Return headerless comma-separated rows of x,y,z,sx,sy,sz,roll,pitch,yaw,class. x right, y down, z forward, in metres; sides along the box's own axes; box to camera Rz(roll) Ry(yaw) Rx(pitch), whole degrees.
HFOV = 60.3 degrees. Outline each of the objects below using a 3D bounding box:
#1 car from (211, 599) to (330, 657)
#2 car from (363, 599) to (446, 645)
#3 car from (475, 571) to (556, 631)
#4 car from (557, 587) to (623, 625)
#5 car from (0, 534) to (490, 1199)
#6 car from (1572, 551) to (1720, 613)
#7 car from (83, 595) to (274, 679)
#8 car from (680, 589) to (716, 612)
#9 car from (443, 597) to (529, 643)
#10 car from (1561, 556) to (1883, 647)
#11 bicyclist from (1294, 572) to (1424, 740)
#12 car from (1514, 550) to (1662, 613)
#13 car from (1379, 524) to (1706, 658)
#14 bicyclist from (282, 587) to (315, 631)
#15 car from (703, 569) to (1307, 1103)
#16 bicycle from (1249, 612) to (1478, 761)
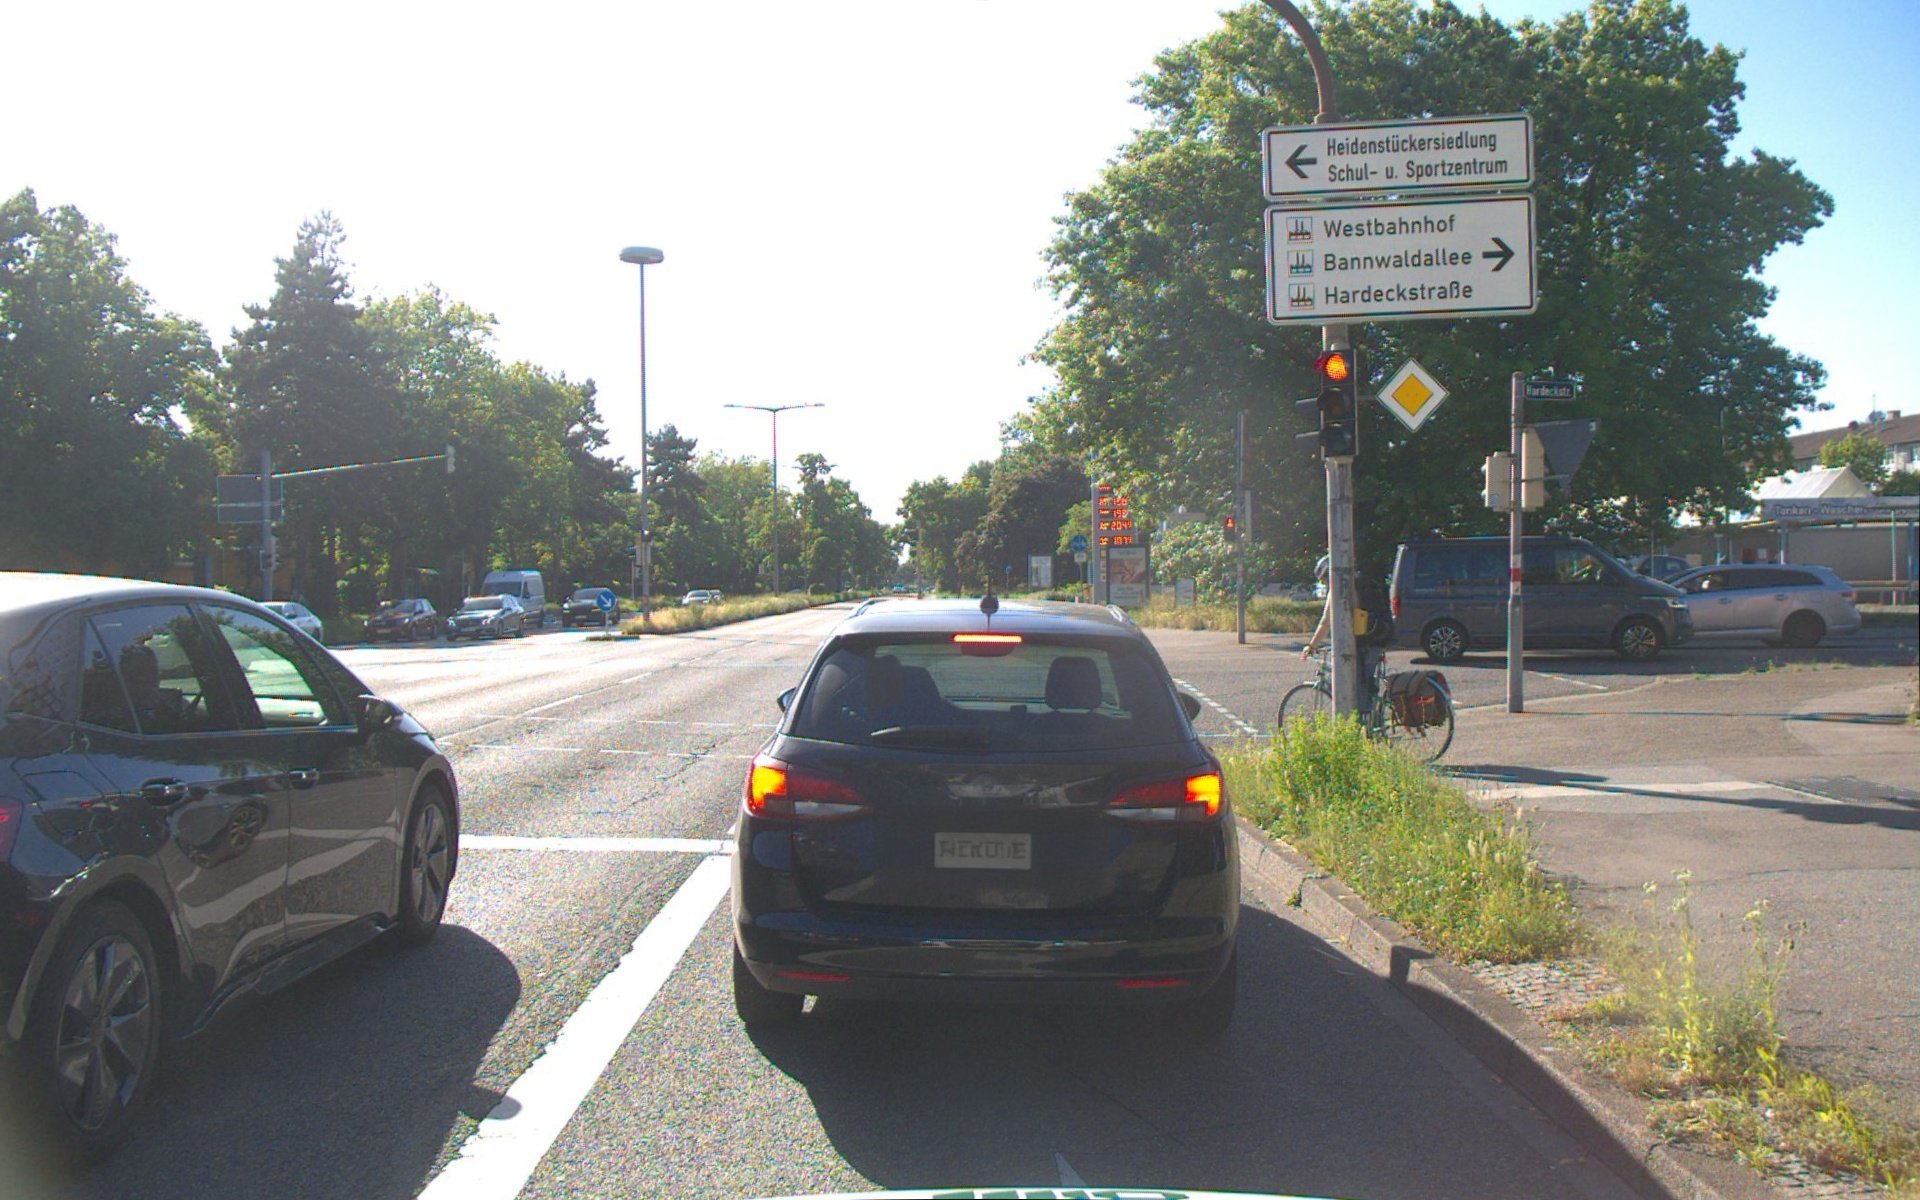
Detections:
-19.338,0.745,46.572,1.607,1.481,4.221,-1,0,-1,car
-19.984,0.769,59.657,1.652,1.535,4.003,-1,0,-1,car
-19.849,0.022,74.134,2.057,2.536,6.003,-1,0,-1,car
-16.698,0.249,74.824,1.953,1.629,4.615,-1,0,-1,car
-2.996,0.656,5.607,1.650,1.608,4.206,0,0,-1,car
19.992,-0.536,48.198,3.934,1.709,1.732,-2,0,-24,car
-16.146,0.714,34.441,1.850,1.551,4.503,-1,0,-1,car
-17.590,0.035,111.121,1.740,1.488,4.164,-1,0,-1,car
-16.290,0.666,57.061,1.652,1.458,4.614,-1,0,-1,car
13.542,0.028,29.705,4.897,1.512,2.002,-1,0,11,car
3.221,0.451,13.374,0.534,1.299,0.816,-2,-2,-44,bicyclist
19.001,-0.569,50.030,3.935,1.780,1.985,-2,1,-24,car
9.508,-0.123,27.309,4.893,2.027,1.919,-1,0,18,car
-25.499,0.336,63.774,0.858,1.677,1.198,-2,0,-6,bicyclist
0.105,0.682,6.839,1.721,1.521,4.206,0,0,-1,car
3.229,0.698,13.373,0.533,1.117,1.748,-2,-2,-44,bicycle
